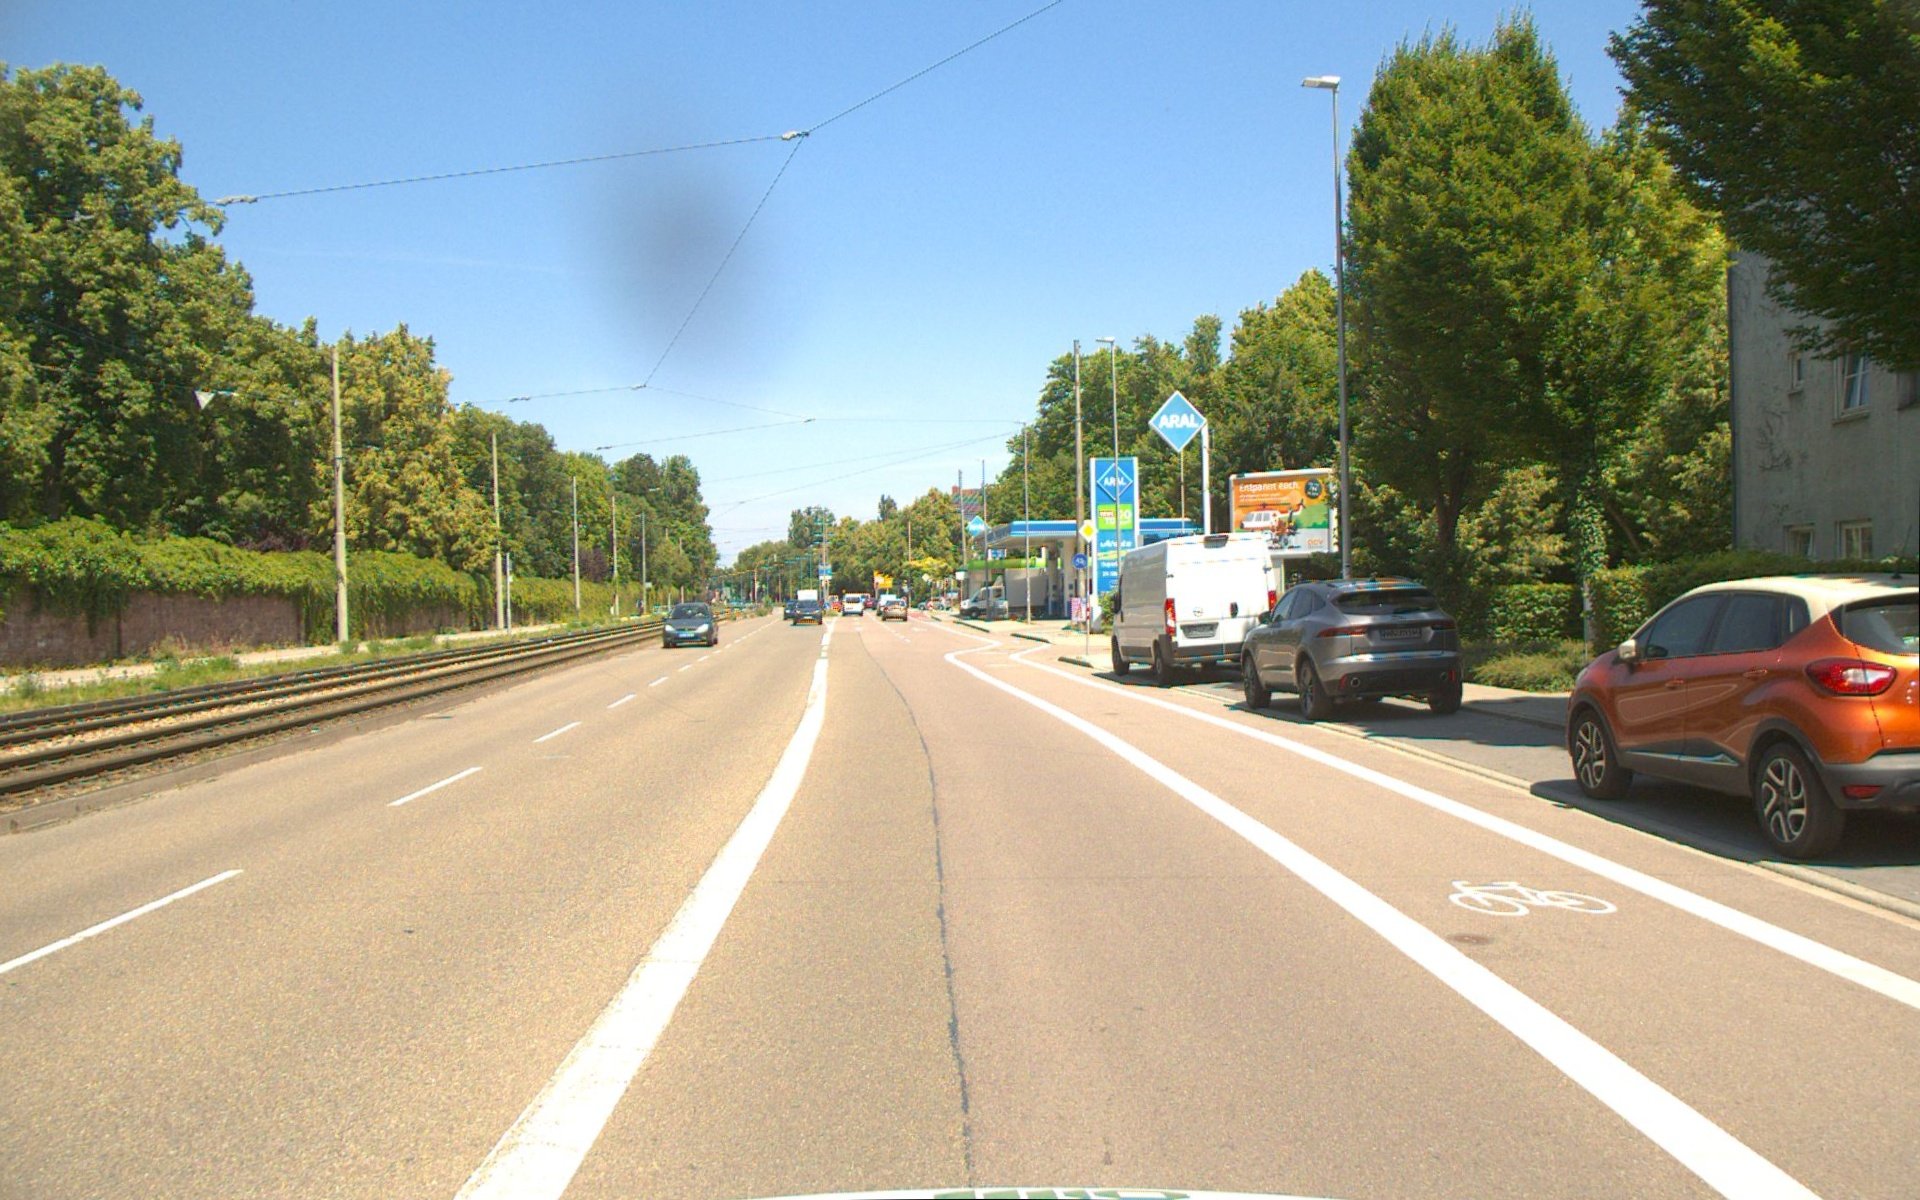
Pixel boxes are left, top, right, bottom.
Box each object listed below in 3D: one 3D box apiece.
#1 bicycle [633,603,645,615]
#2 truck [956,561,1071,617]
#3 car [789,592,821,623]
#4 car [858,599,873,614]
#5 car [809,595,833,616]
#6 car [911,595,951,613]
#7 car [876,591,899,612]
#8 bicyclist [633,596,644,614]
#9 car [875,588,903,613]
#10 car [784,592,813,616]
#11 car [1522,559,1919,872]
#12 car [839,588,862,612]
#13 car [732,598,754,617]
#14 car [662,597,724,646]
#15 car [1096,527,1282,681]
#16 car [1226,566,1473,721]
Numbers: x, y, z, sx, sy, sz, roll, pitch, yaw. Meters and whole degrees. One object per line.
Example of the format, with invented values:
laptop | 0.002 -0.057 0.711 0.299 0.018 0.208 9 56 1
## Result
bicycle | -29.632 0.855 152.640 0.668 1.072 2.008 -6 0 -3
truck | 3.737 -0.762 115.434 7.803 3.665 2.663 -1 0 1
car | -9.148 0.413 97.910 1.722 1.658 4.319 -4 1 -5
car | -12.010 0.825 209.699 1.722 1.658 4.319 -4 1 -5
car | -11.586 0.453 138.186 1.721 1.658 4.321 -4 1 -3
car | -3.295 0.457 187.800 4.218 1.658 1.763 -4 0 15
car | -6.211 0.157 141.874 1.722 1.658 4.319 -4 1 -5
bicyclist | -29.662 0.488 152.652 0.668 1.601 0.795 -6 -1 -3
car | -5.016 0.028 117.037 1.722 1.658 4.319 -4 1 -5
car | -12.035 0.278 122.839 1.724 1.658 4.313 -4 1 -10
car | 5.462 0.582 11.015 1.673 1.589 4.321 -4 1 -3
car | -9.326 0.013 140.623 1.722 1.907 4.319 -4 1 -5
car | -19.995 0.693 152.553 1.724 1.658 4.313 -4 1 -10
car | -9.245 0.715 57.491 1.722 1.535 4.319 -4 1 -5
car | 4.166 0.058 31.259 1.963 2.499 6.102 -4 1 -6
car | 4.805 0.486 21.067 1.722 1.658 4.319 -4 1 -5
